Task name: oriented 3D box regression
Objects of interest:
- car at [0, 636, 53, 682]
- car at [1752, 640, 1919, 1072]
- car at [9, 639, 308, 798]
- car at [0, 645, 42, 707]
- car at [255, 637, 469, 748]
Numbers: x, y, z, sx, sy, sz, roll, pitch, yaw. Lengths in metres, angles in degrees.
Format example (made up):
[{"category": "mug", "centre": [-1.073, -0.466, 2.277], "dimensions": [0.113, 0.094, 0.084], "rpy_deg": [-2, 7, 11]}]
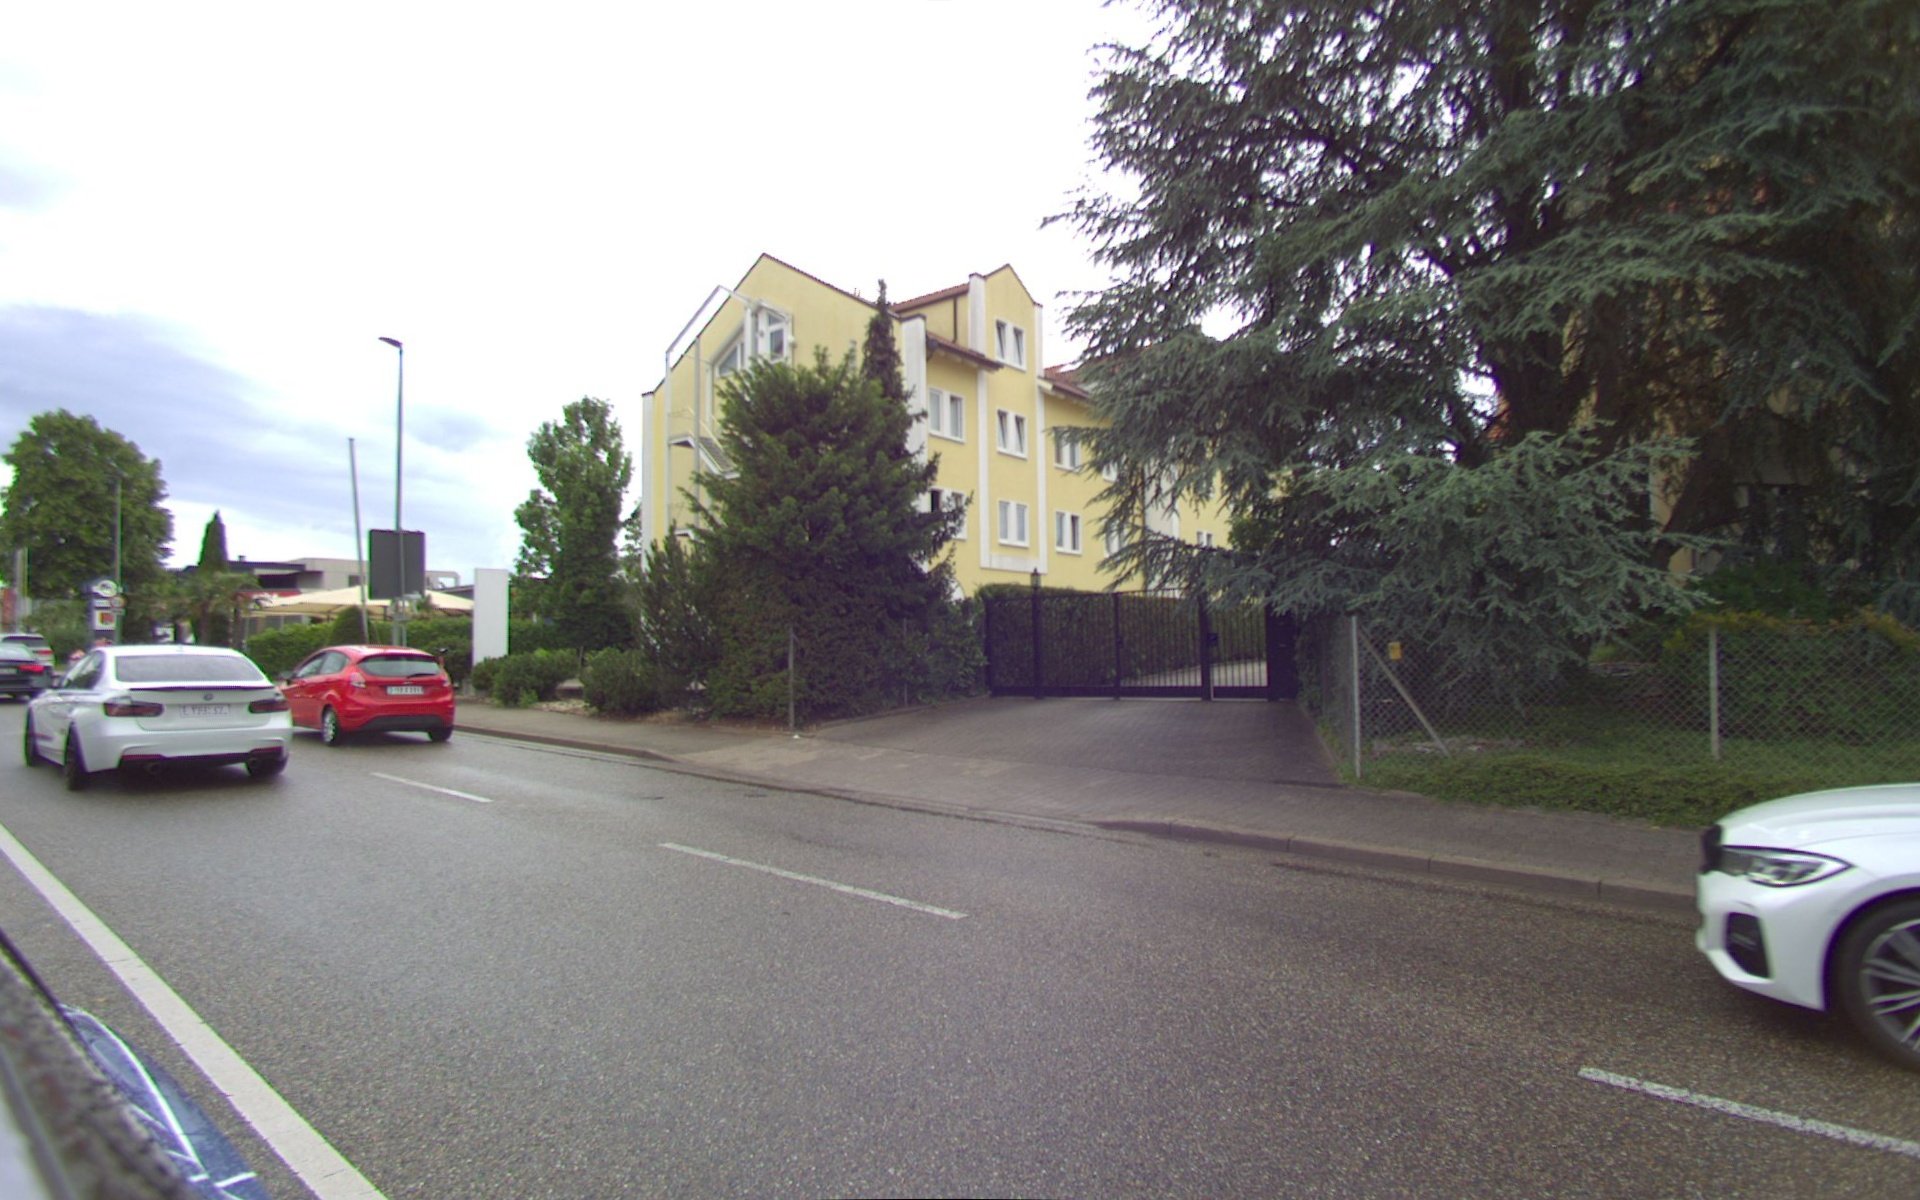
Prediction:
[{"category": "car", "centre": [-37.123, 2.285, 39.689], "dimensions": [3.777, 1.687, 1.742], "rpy_deg": [-1, -2, 39]}, {"category": "car", "centre": [5.221, 0.879, 3.035], "dimensions": [4.428, 1.471, 1.767], "rpy_deg": [-1, -2, 40]}, {"category": "car", "centre": [-8.985, 1.147, 11.212], "dimensions": [4.270, 1.392, 1.796], "rpy_deg": [-1, -2, 41]}, {"category": "car", "centre": [-23.025, 1.735, 23.735], "dimensions": [3.778, 1.363, 1.677], "rpy_deg": [-1, -5, 41]}, {"category": "car", "centre": [-9.361, 1.357, 15.748], "dimensions": [3.778, 1.487, 1.677], "rpy_deg": [-1, -4, 41]}]
